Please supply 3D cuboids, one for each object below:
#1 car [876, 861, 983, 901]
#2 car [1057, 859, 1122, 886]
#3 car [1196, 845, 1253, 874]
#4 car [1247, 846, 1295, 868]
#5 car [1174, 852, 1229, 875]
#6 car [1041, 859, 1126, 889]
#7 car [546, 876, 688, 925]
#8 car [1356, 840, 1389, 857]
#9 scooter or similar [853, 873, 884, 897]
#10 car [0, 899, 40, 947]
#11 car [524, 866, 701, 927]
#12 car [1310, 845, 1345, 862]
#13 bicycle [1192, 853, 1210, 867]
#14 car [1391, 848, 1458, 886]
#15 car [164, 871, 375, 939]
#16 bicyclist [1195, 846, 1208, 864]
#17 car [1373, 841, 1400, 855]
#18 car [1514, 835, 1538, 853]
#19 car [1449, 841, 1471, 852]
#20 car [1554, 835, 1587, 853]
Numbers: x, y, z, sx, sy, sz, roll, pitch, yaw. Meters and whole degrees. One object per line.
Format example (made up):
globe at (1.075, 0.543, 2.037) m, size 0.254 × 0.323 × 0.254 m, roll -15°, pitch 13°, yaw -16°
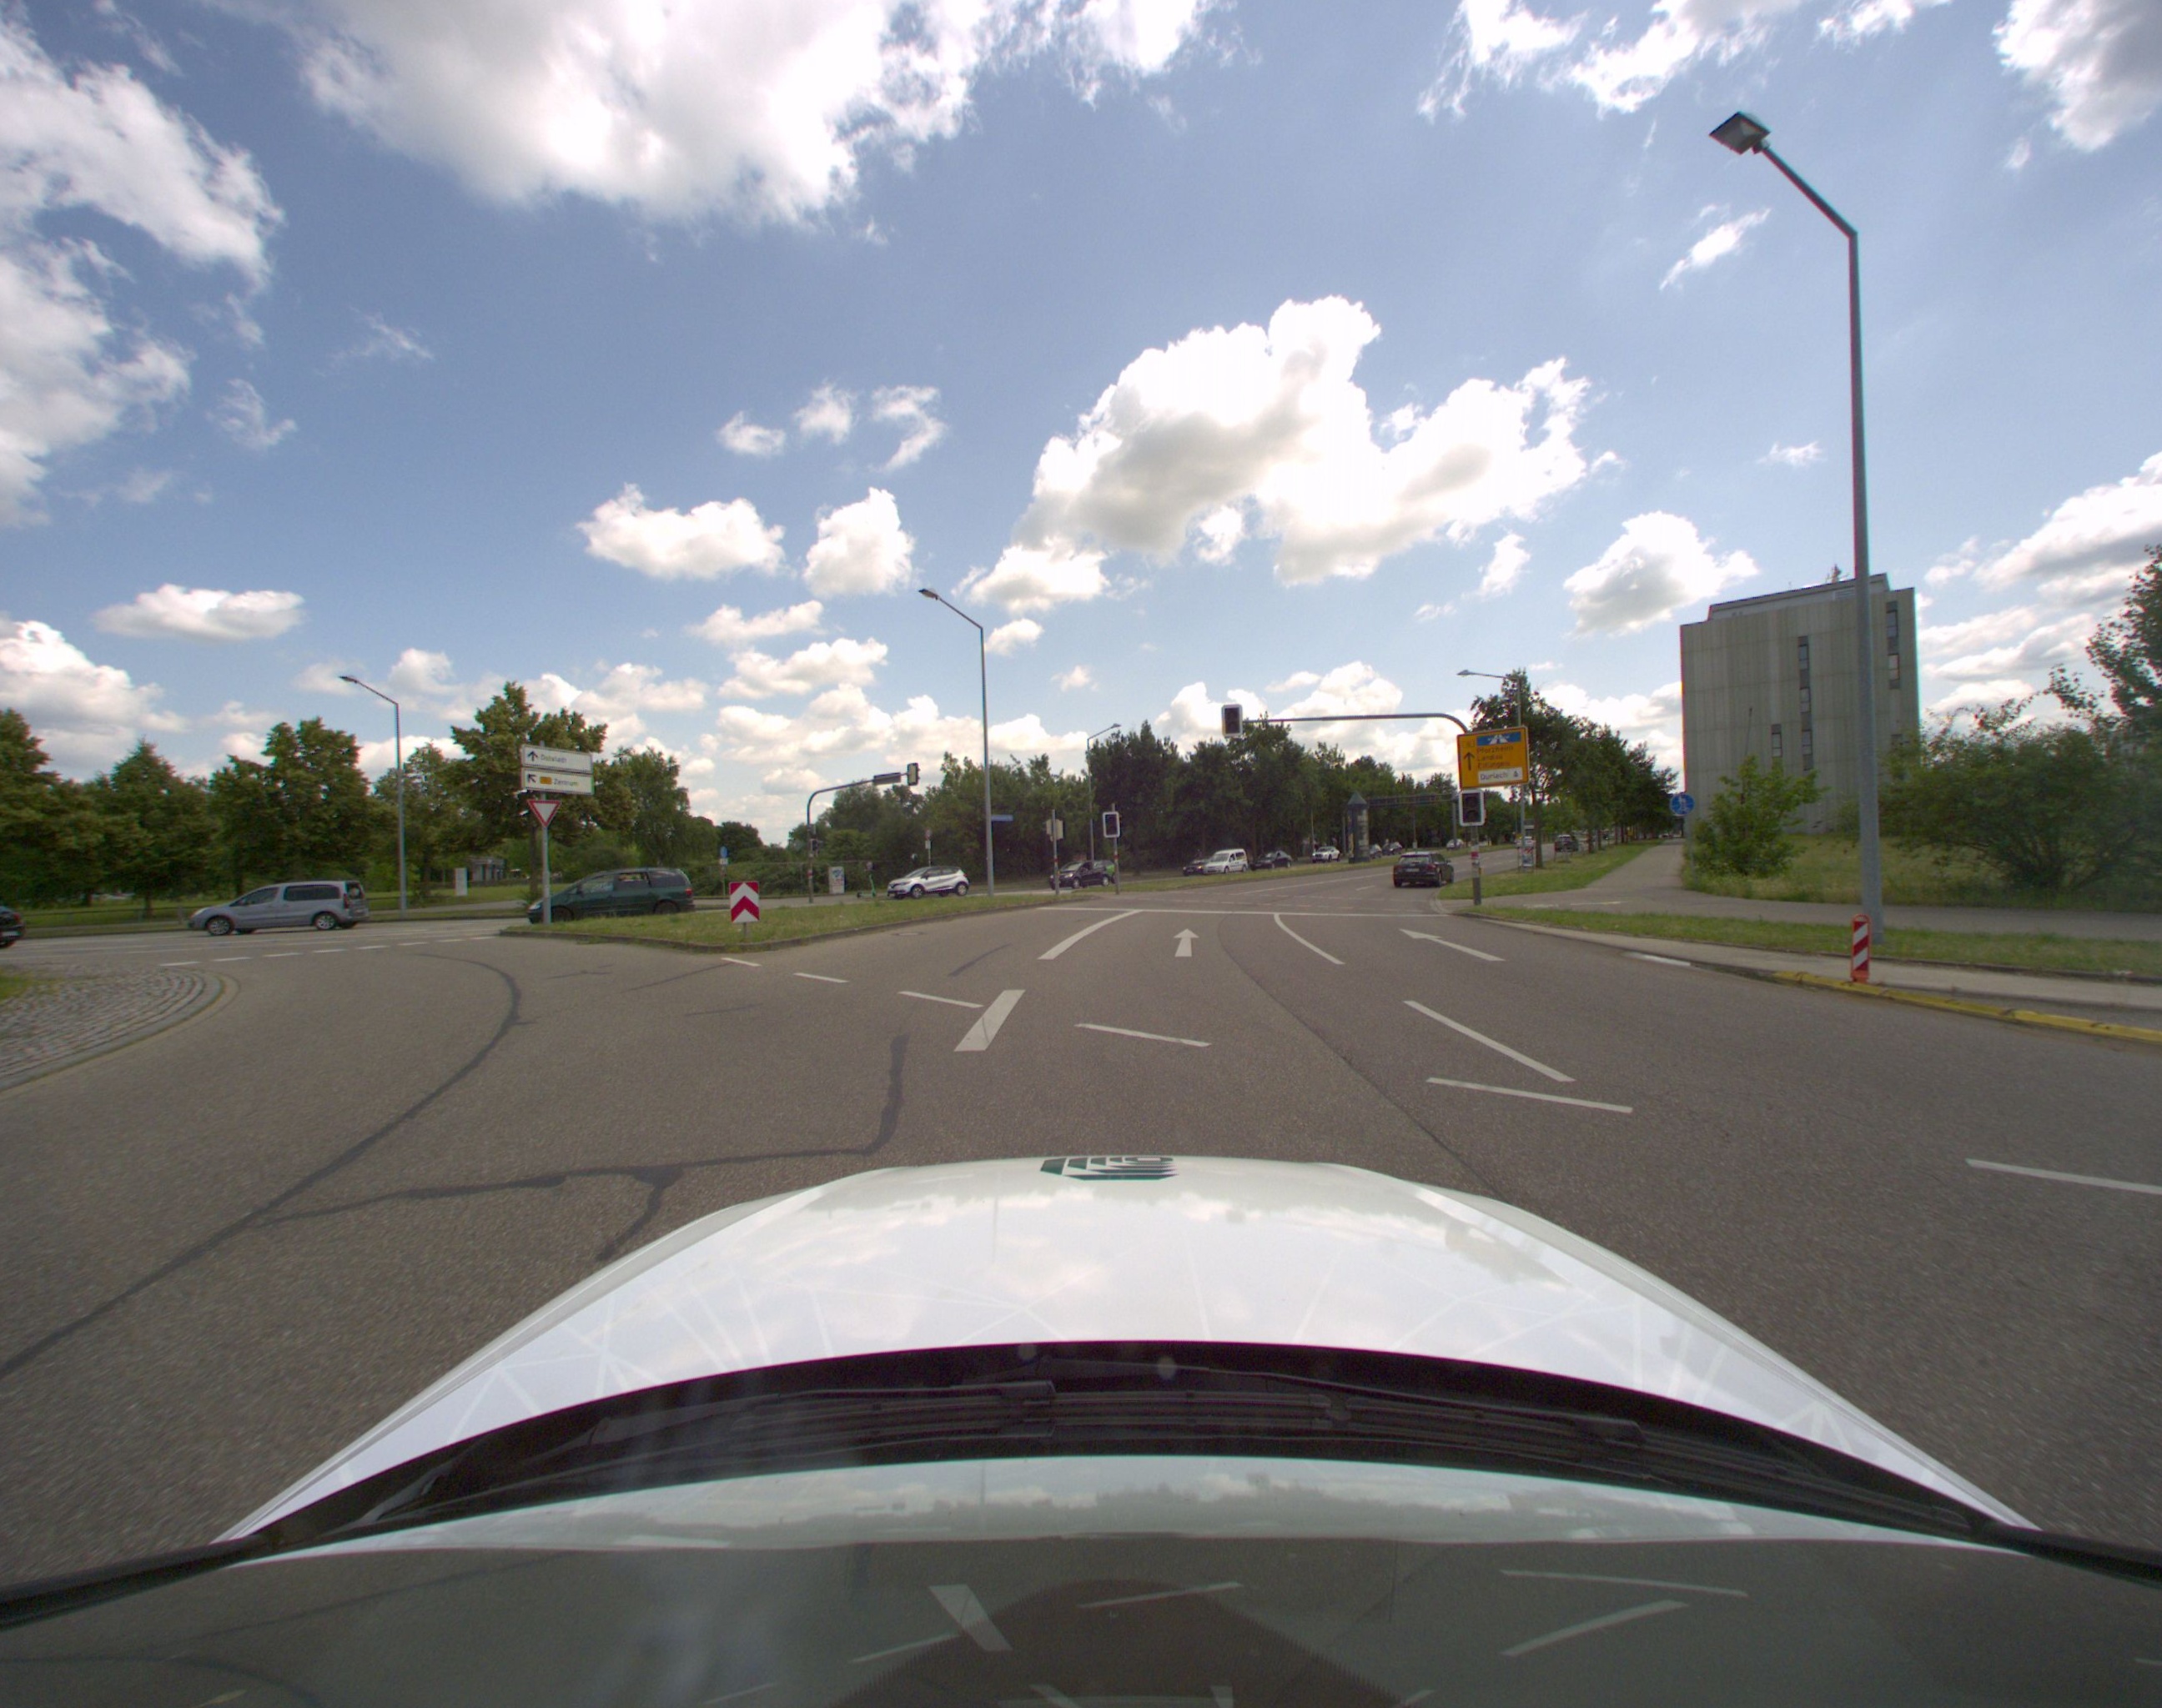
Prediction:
car at (-7.357, 1.269, 39.903) m, size 1.975 × 1.686 × 4.816 m, roll -2°, pitch 0°, yaw 44°
car at (0.558, 1.090, 48.892) m, size 1.600 × 1.348 × 4.197 m, roll -4°, pitch -2°, yaw 38°
car at (10.056, 0.360, 56.879) m, size 1.820 × 1.799 × 4.818 m, roll -4°, pitch -2°, yaw 38°
car at (14.894, 0.204, 63.645) m, size 1.820 × 1.480 × 4.784 m, roll -4°, pitch -2°, yaw 37°
car at (9.015, 0.694, 60.645) m, size 1.820 × 1.443 × 4.447 m, roll -5°, pitch -2°, yaw 41°
car at (0.201, 1.043, 43.546) m, size 1.820 × 1.310 × 4.818 m, roll -5°, pitch -2°, yaw 40°
car at (-16.300, 1.577, 28.763) m, size 4.204 × 1.423 × 1.893 m, roll -2°, pitch 0°, yaw -30°
car at (30.286, -0.544, 84.451) m, size 1.705 × 1.591 × 5.045 m, roll -3°, pitch -1°, yaw 37°
scooter or similar at (-10.841, 1.584, 41.639) m, size 0.535 × 1.166 × 1.449 m, roll -2°, pitch 0°, yaw 41°
car at (-32.985, 2.107, 23.018) m, size 3.980 × 1.340 × 1.791 m, roll -3°, pitch -1°, yaw -20°
car at (-14.526, 1.263, 25.417) m, size 4.609 × 1.592 × 1.894 m, roll -2°, pitch 0°, yaw -33°
car at (24.519, -0.088, 80.903) m, size 1.891 × 1.541 × 4.396 m, roll -3°, pitch 0°, yaw 37°
bicycle at (10.894, 0.520, 73.783) m, size 0.753 × 1.219 × 2.029 m, roll 0°, pitch 1°, yaw 37°
car at (14.290, 0.501, 33.757) m, size 1.667 × 1.463 × 4.026 m, roll -1°, pitch 1°, yaw 36°
car at (-28.322, 1.704, 28.672) m, size 4.796 × 2.013 × 1.983 m, roll -2°, pitch 0°, yaw -25°
bicyclist at (10.879, 0.091, 73.757) m, size 0.822 × 1.564 × 0.889 m, roll 0°, pitch 1°, yaw 37°
car at (37.507, -0.789, 99.987) m, size 1.746 × 1.577 × 5.064 m, roll -3°, pitch 0°, yaw 36°
car at (52.241, -1.207, 95.563) m, size 1.974 × 2.013 × 4.026 m, roll -1°, pitch 1°, yaw 34°
car at (52.085, -1.022, 111.913) m, size 1.746 × 1.440 × 4.337 m, roll -3°, pitch 0°, yaw 37°
car at (48.790, -1.009, 81.112) m, size 1.974 × 1.626 × 4.336 m, roll -2°, pitch 1°, yaw 42°
